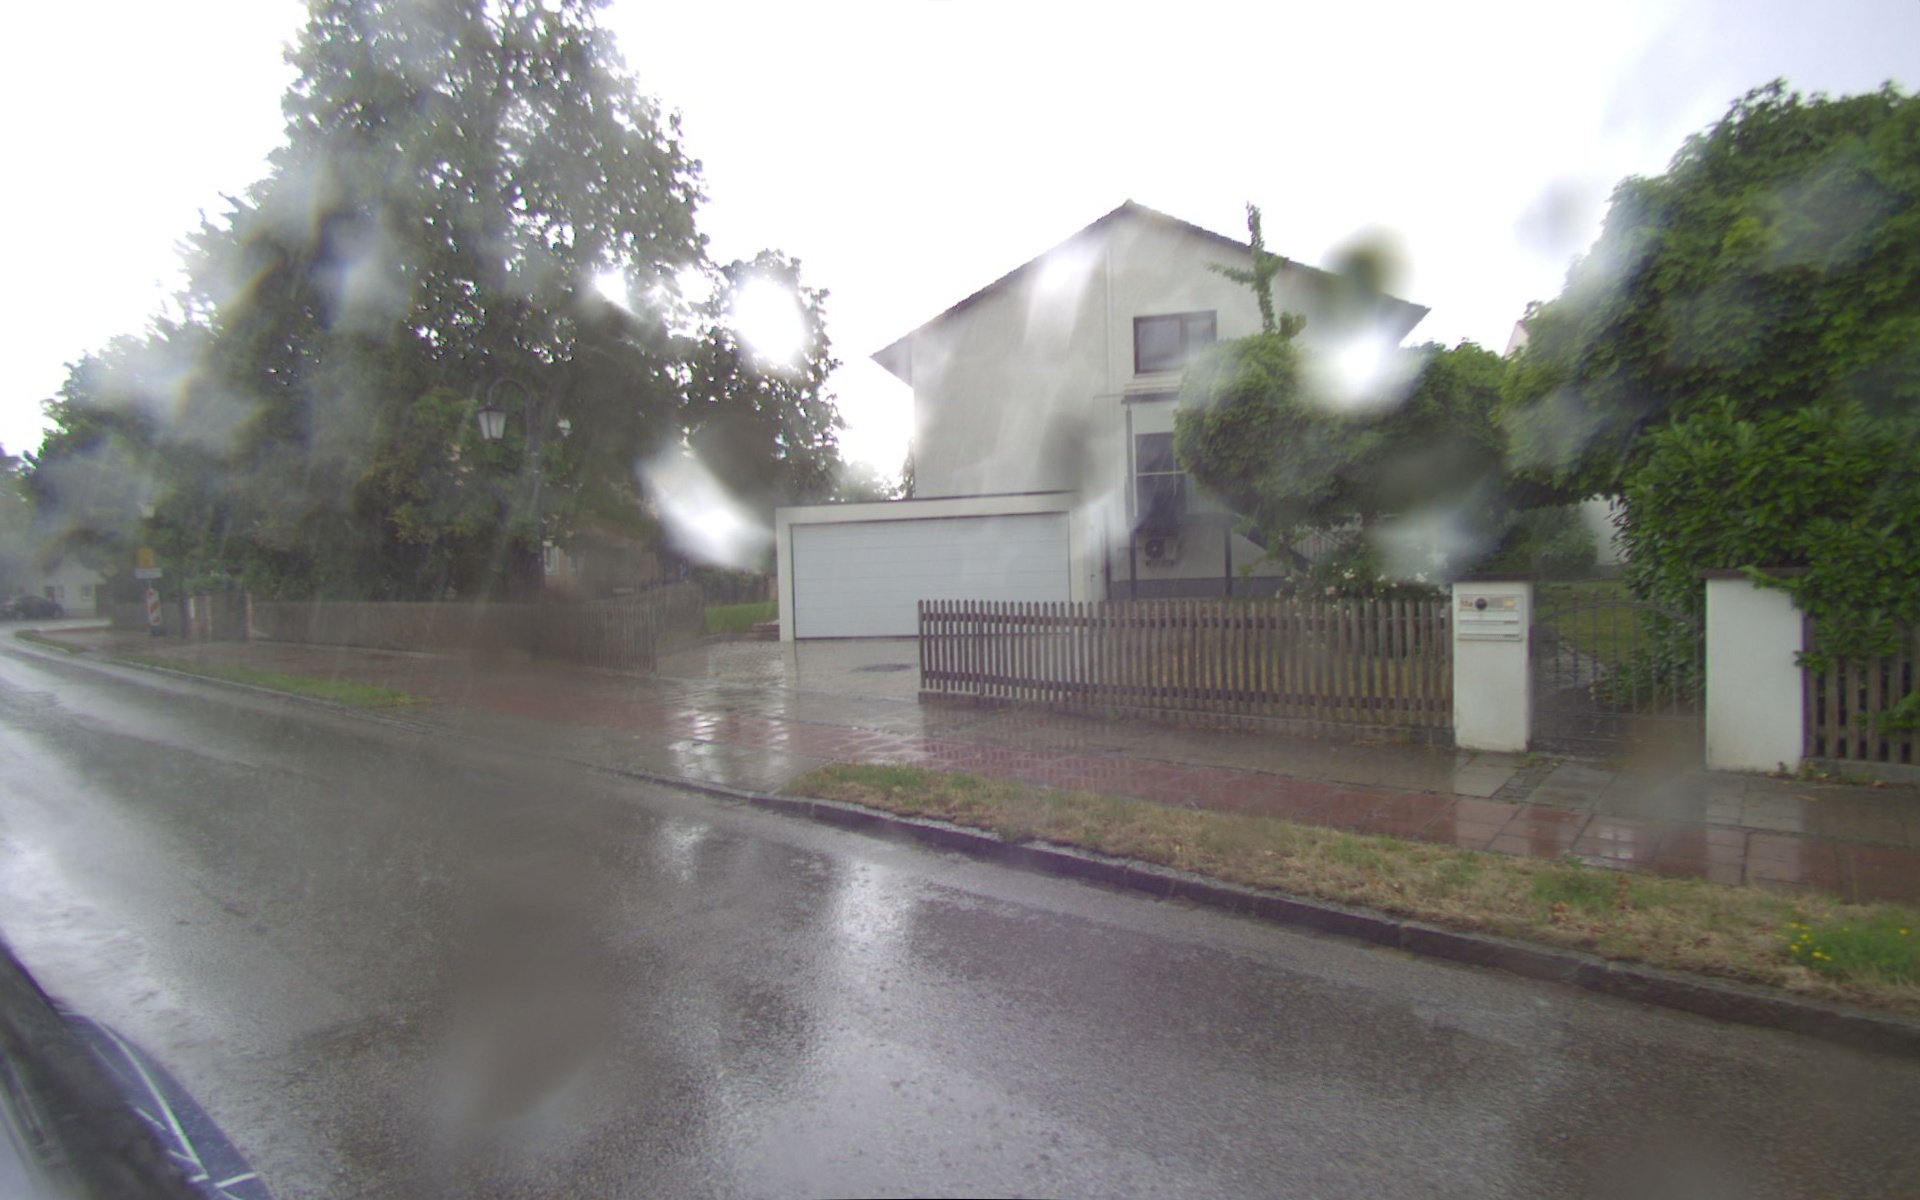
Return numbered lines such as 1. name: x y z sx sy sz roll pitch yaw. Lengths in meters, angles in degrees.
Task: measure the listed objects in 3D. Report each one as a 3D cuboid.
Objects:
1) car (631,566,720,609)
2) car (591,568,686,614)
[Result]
1. car: -13.660 -0.605 48.701 3.614 1.815 1.838 -3 2 8
2. car: -14.505 -0.432 45.766 3.614 1.815 1.838 -3 2 8
